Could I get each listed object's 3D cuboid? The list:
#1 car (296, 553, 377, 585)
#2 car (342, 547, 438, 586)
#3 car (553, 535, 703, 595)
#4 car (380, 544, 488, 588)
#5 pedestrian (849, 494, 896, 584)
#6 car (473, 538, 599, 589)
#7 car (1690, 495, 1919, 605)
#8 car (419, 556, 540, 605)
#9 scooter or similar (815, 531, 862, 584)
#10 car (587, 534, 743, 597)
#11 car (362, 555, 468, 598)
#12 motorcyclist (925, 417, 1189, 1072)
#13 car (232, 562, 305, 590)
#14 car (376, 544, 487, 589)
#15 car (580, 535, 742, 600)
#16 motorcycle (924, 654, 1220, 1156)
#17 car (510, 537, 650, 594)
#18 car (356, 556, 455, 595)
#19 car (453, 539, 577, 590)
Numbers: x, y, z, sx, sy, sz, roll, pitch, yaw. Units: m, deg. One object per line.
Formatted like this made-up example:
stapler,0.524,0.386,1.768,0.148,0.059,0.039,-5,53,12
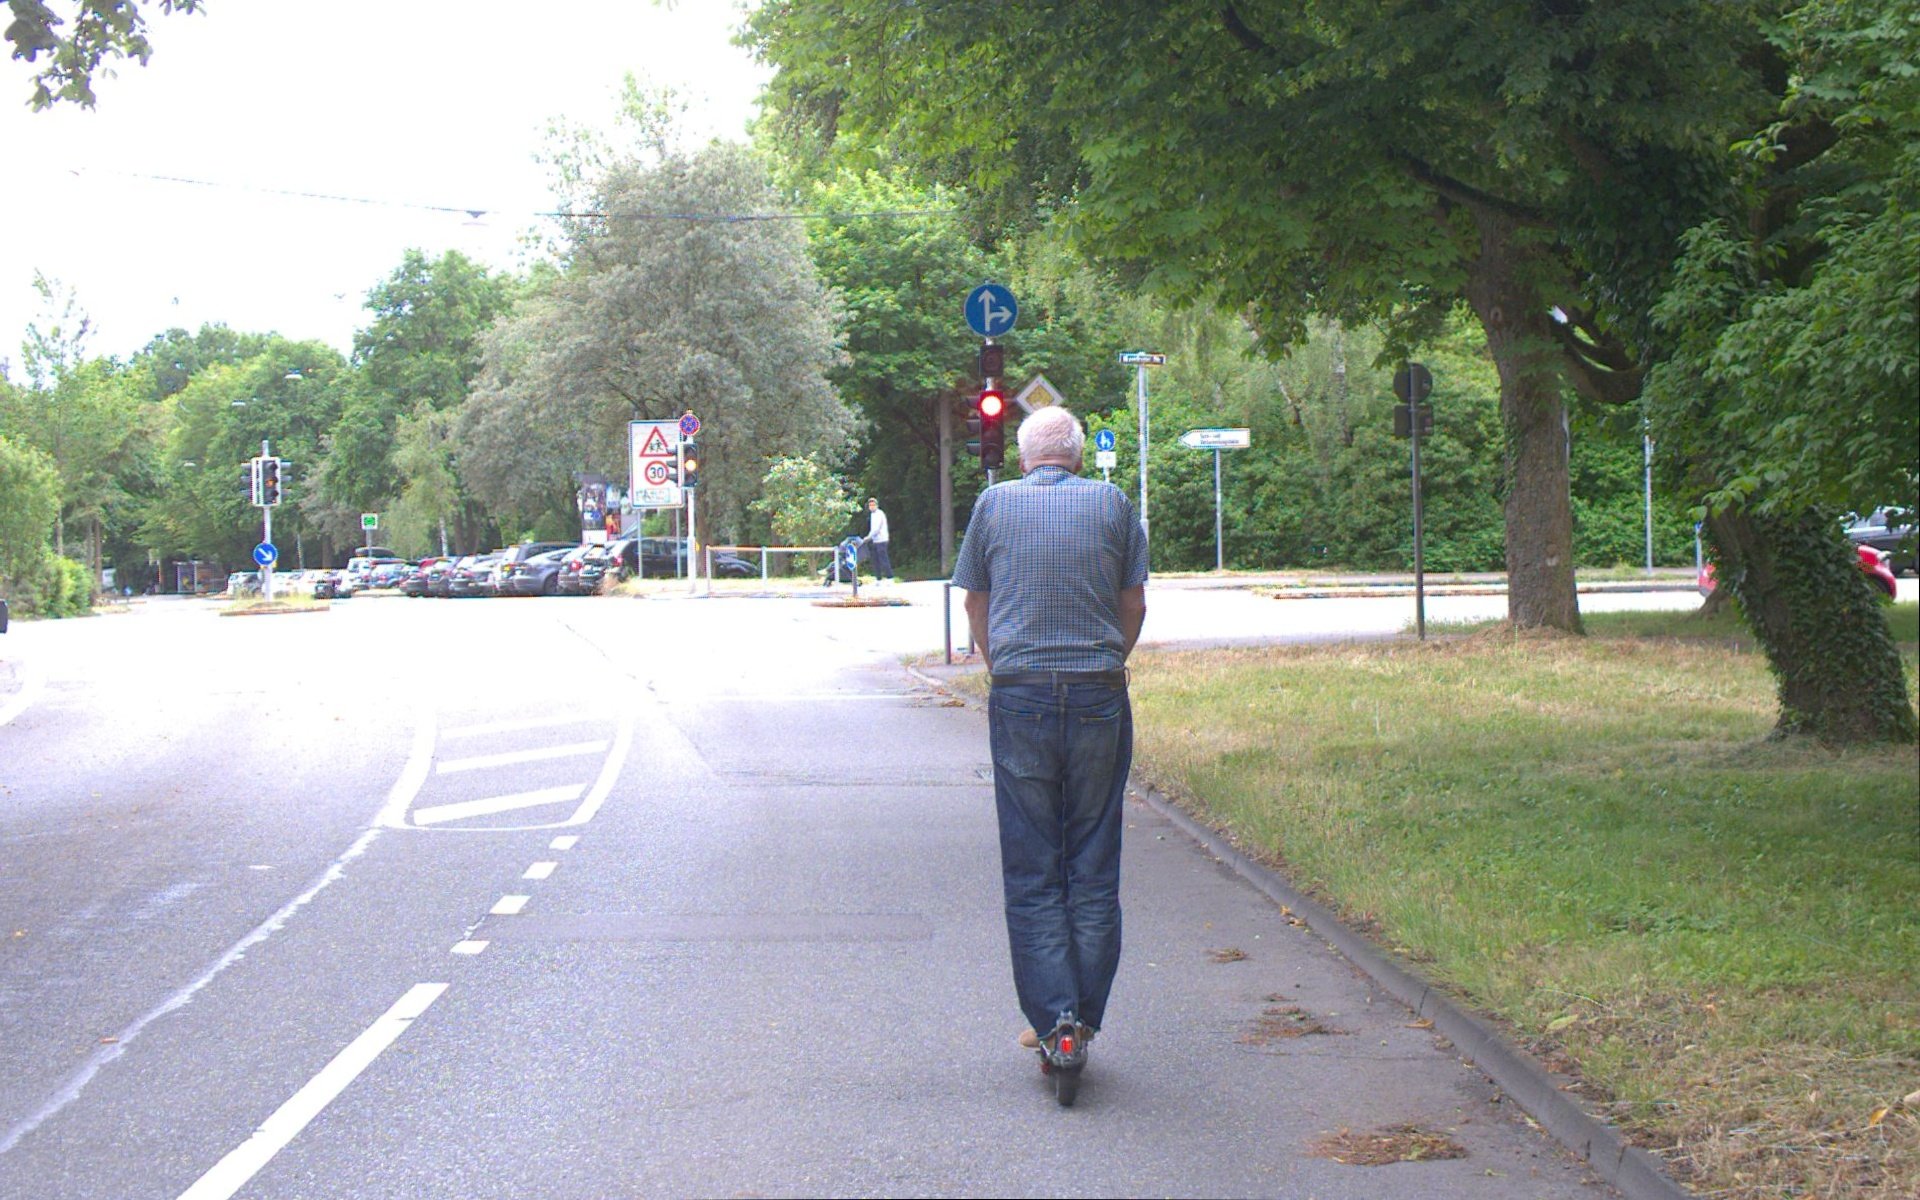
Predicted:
car,-32.243,-1.629,177.866,3.986,1.505,1.800,-2,1,-7
car,-24.514,-1.456,147.950,3.986,1.505,1.800,-2,1,-7
car,-9.151,-0.969,94.623,3.986,1.505,1.800,-2,1,-7
car,-20.081,-1.309,131.404,3.986,1.505,1.800,-2,1,-7
pedestrian,-1.752,-1.213,68.576,0.732,1.755,0.661,-1,1,14
car,-13.802,-1.186,111.856,3.986,1.505,1.800,-2,1,-7
car,13.152,-0.776,51.999,3.988,1.551,1.800,0,4,8
car,-16.417,-0.681,117.556,3.986,1.505,1.800,-2,1,-7
scooter or similar,-2.438,-0.855,68.907,0.710,1.045,0.787,-1,1,14
car,-7.838,-0.925,91.162,3.986,1.505,1.800,-2,1,-7
car,-21.164,-0.925,133.704,3.986,1.505,1.800,-2,1,-7
motorcyclist,0.257,0.381,9.547,0.672,1.755,0.639,0,1,-4
car,-40.156,-1.398,199.600,3.986,1.505,1.800,-2,1,-7
car,-19.616,-1.265,127.709,3.986,1.505,1.800,-2,1,-7
car,-7.639,-0.838,87.588,3.986,1.505,1.800,-2,1,-7
motorcycle,0.276,0.776,9.279,0.672,1.213,1.274,0,1,-4
car,-11.210,-1.020,101.315,3.986,1.505,1.800,-2,1,-7
car,-23.353,-1.036,144.915,3.986,1.505,1.800,-2,1,-7
car,-14.707,-1.180,113.685,3.986,1.505,1.800,-2,1,-7
